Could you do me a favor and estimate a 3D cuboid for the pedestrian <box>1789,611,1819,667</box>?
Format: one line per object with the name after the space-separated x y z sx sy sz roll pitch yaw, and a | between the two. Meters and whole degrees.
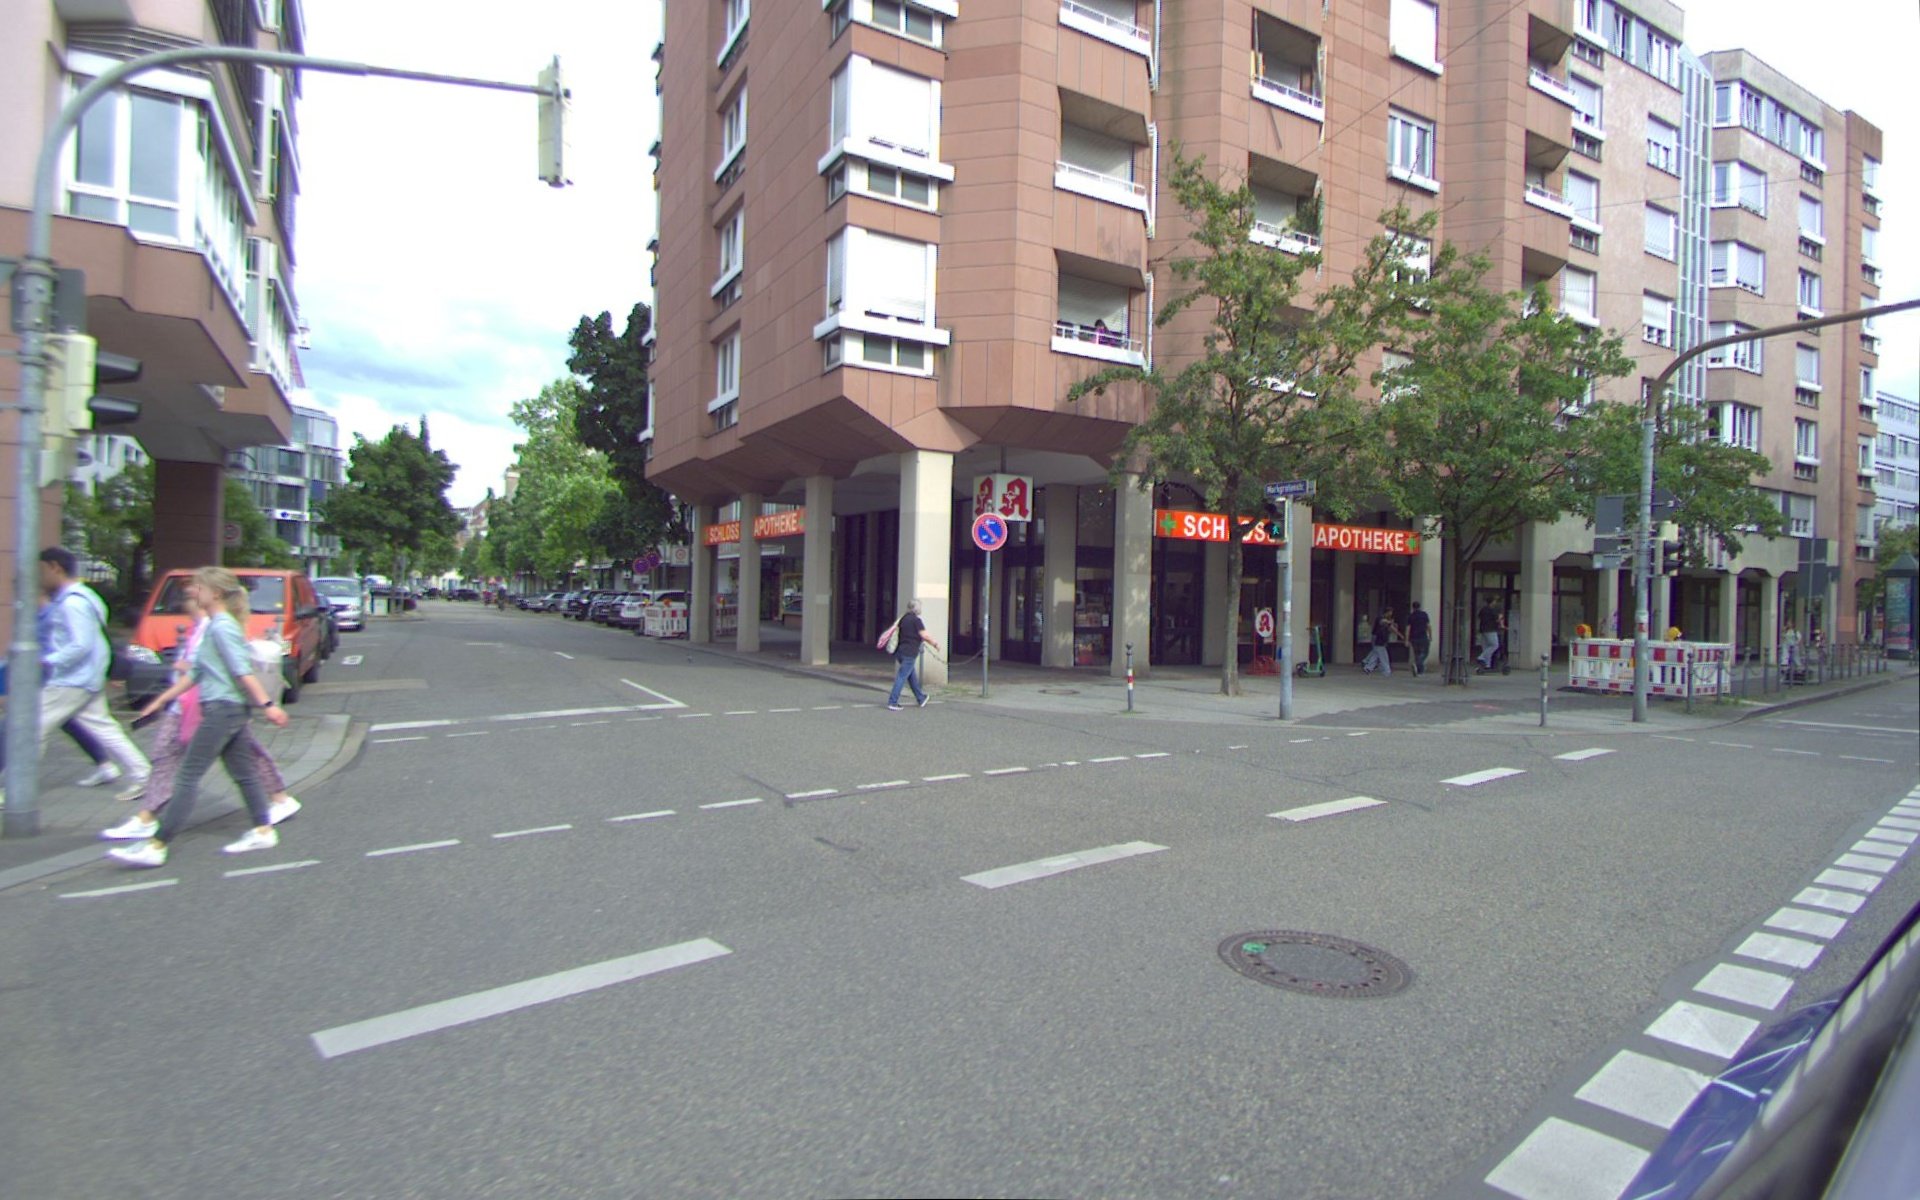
25.667 1.174 30.777 0.810 1.671 0.544 2 -1 -40 | pedestrian

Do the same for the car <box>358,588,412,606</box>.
-50.848 -0.279 89.512 3.925 1.523 1.728 2 0 -37 | car

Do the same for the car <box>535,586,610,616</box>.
-22.823 0.078 59.725 1.829 1.699 3.966 1 0 24 | car

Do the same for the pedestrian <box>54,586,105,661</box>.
-17.171 0.451 19.747 0.607 1.432 0.653 2 -1 -31 | pedestrian

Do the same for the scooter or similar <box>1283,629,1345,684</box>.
7.951 1.254 22.737 1.378 1.185 0.556 2 -1 -32 | scooter or similar

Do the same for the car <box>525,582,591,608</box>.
-28.546 -0.344 71.916 3.928 1.699 1.847 1 0 -39 | car

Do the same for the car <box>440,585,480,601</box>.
-57.856 -0.810 117.152 3.923 1.699 1.729 1 0 -35 | car

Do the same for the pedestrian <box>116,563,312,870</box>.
-4.301 0.629 5.873 0.834 1.637 0.518 2 -1 -36 | pedestrian

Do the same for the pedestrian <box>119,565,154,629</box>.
-25.502 -0.089 31.345 0.639 1.929 0.620 2 -1 -26 | pedestrian

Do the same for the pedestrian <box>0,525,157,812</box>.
-6.145 0.447 6.987 0.834 1.852 0.678 2 -1 -34 | pedestrian

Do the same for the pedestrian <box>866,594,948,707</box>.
-0.761 0.707 14.592 0.928 1.558 0.678 2 -1 -33 | pedestrian

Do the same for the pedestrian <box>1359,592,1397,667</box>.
10.365 0.728 25.079 0.644 1.822 0.554 1 -1 -10 | pedestrian

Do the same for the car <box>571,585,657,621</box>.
-17.306 0.137 50.795 1.829 1.699 3.966 1 0 24 | car

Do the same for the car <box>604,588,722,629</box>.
-12.040 0.361 41.279 1.837 1.577 4.403 1 0 35 | car

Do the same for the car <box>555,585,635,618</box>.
-19.749 0.089 54.935 1.829 1.699 3.966 1 0 24 | car

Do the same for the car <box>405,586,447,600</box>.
-61.500 -0.800 116.667 3.934 1.523 1.724 2 0 -45 | car

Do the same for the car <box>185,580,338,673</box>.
-13.648 0.433 20.059 1.959 1.610 4.849 0 1 -28 | car

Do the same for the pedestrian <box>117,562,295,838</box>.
-4.783 0.601 6.470 0.834 1.637 0.518 2 -1 -34 | pedestrian

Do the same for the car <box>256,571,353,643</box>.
-19.073 0.194 29.623 1.946 1.925 4.691 2 0 -28 | car

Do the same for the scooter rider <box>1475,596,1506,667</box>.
13.158 0.778 25.101 0.542 1.742 0.464 2 -1 -31 | scooter rider

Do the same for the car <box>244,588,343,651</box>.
-16.418 0.432 25.095 1.691 1.423 3.986 0 0 -28 | car

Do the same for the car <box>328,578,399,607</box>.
-39.947 -0.487 67.820 3.925 1.790 1.728 2 -1 -37 | car

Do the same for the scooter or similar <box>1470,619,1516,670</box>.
13.251 1.091 25.156 1.305 1.221 0.475 2 -1 -37 | scooter or similar

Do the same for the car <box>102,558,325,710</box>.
-10.674 0.386 14.861 1.959 1.848 4.849 0 0 -28 | car

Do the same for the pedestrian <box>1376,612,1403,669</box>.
10.226 0.959 24.101 0.477 1.341 0.486 1 -1 11 | pedestrian

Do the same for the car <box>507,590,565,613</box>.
-33.285 0.146 79.541 3.923 1.699 1.729 1 0 -35 | car

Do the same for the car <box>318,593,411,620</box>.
-33.225 0.384 56.493 4.240 1.423 1.836 2 0 -37 | car

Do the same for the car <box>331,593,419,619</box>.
-34.163 0.348 59.122 4.240 1.423 1.836 2 0 -37 | car

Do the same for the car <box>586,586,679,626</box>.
-14.770 0.249 45.897 1.829 1.699 3.966 1 0 24 | car

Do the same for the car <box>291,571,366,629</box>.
-22.768 0.004 36.620 1.946 1.925 4.691 2 0 -28 | car

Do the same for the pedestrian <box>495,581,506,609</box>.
-34.551 -0.392 76.078 0.635 2.039 0.779 1 0 -29 | pedestrian

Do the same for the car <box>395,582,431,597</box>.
-63.609 -1.197 117.722 3.349 1.594 1.653 1 0 -41 | car

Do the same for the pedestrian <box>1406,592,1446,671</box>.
10.871 0.727 23.592 0.644 1.822 0.554 2 -1 -30 | pedestrian

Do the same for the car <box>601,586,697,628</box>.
-13.415 0.302 43.870 1.829 1.699 3.966 1 0 24 | car

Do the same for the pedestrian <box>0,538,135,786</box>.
-6.735 0.431 7.373 1.002 1.722 0.654 2 -1 -33 | pedestrian
